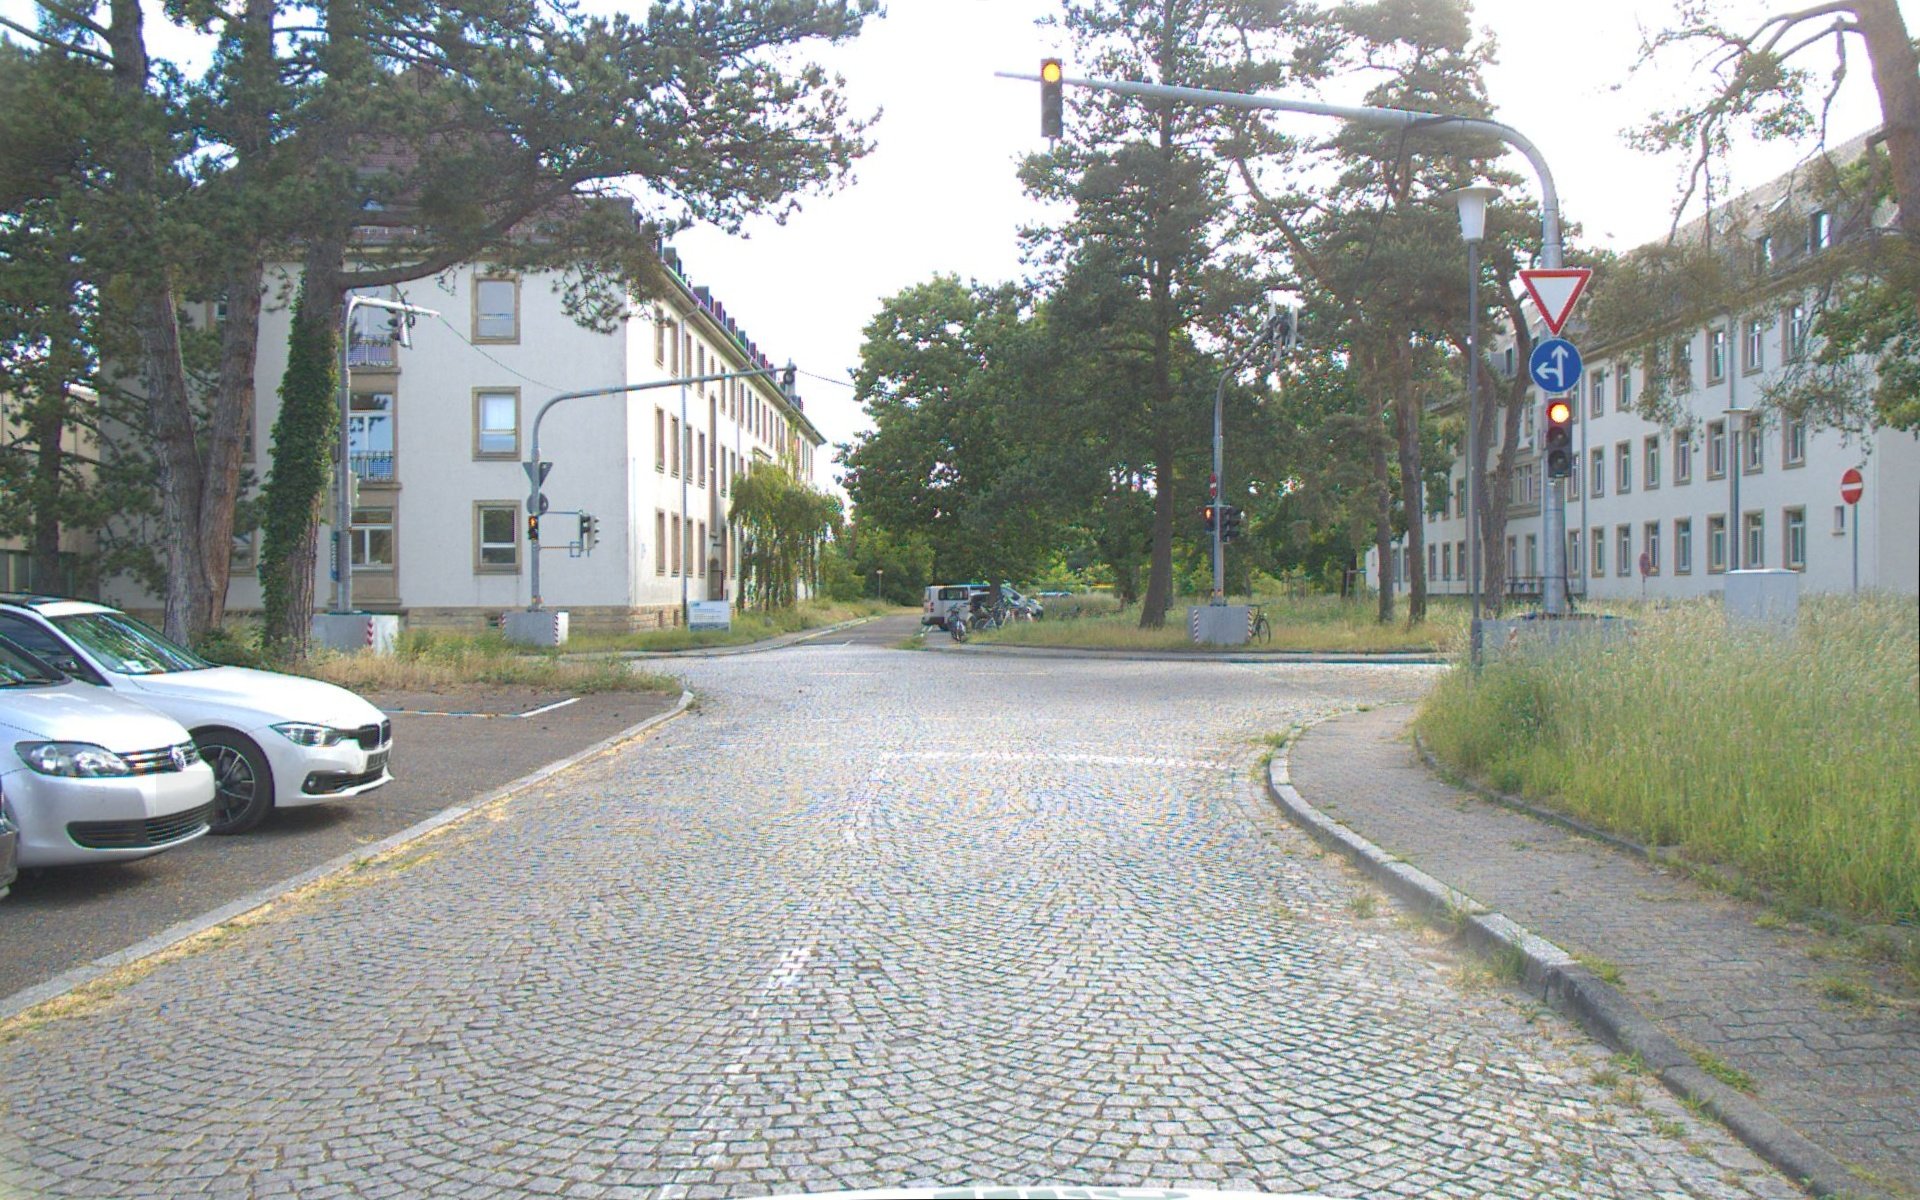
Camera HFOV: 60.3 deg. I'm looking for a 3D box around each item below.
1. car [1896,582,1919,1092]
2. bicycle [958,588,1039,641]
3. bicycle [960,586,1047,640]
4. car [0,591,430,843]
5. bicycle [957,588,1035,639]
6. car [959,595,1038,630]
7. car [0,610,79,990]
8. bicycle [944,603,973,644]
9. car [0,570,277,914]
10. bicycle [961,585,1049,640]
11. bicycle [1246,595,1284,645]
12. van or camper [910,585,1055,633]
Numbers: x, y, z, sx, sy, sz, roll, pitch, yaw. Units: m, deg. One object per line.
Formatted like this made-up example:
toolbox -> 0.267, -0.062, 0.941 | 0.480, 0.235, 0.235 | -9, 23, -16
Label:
car -> 4.691, 0.665, 4.139 | 3.764, 1.496, 1.642 | -1, 0, -1
bicycle -> 1.365, 0.509, 57.956 | 2.717, 1.723, 1.121 | 2, 0, 4
bicycle -> 1.410, 0.415, 54.391 | 2.723, 1.724, 1.118 | 0, 0, -7
car -> -6.068, 0.700, 11.116 | 4.389, 1.467, 1.829 | 2, 0, -4
bicycle -> 1.286, 0.493, 59.294 | 2.718, 1.723, 1.120 | 2, 0, 1
car -> 1.557, 0.507, 67.590 | 3.077, 1.378, 1.618 | 0, 0, -6
car -> -5.507, 0.696, 5.895 | 3.758, 1.433, 1.695 | 2, 0, -1
bicycle -> -0.045, 0.674, 48.916 | 0.711, 1.127, 2.462 | -5, 0, 1
car -> -5.892, 0.633, 8.779 | 3.755, 1.635, 1.735 | 2, 0, -3
bicycle -> 1.432, 0.389, 53.197 | 2.722, 1.724, 1.119 | 0, 0, -6
bicycle -> 7.623, 0.480, 41.398 | 0.708, 1.189, 2.739 | 1, 0, 6
van or camper -> 0.949, 0.385, 71.167 | 5.929, 1.983, 1.993 | 0, 0, -14
